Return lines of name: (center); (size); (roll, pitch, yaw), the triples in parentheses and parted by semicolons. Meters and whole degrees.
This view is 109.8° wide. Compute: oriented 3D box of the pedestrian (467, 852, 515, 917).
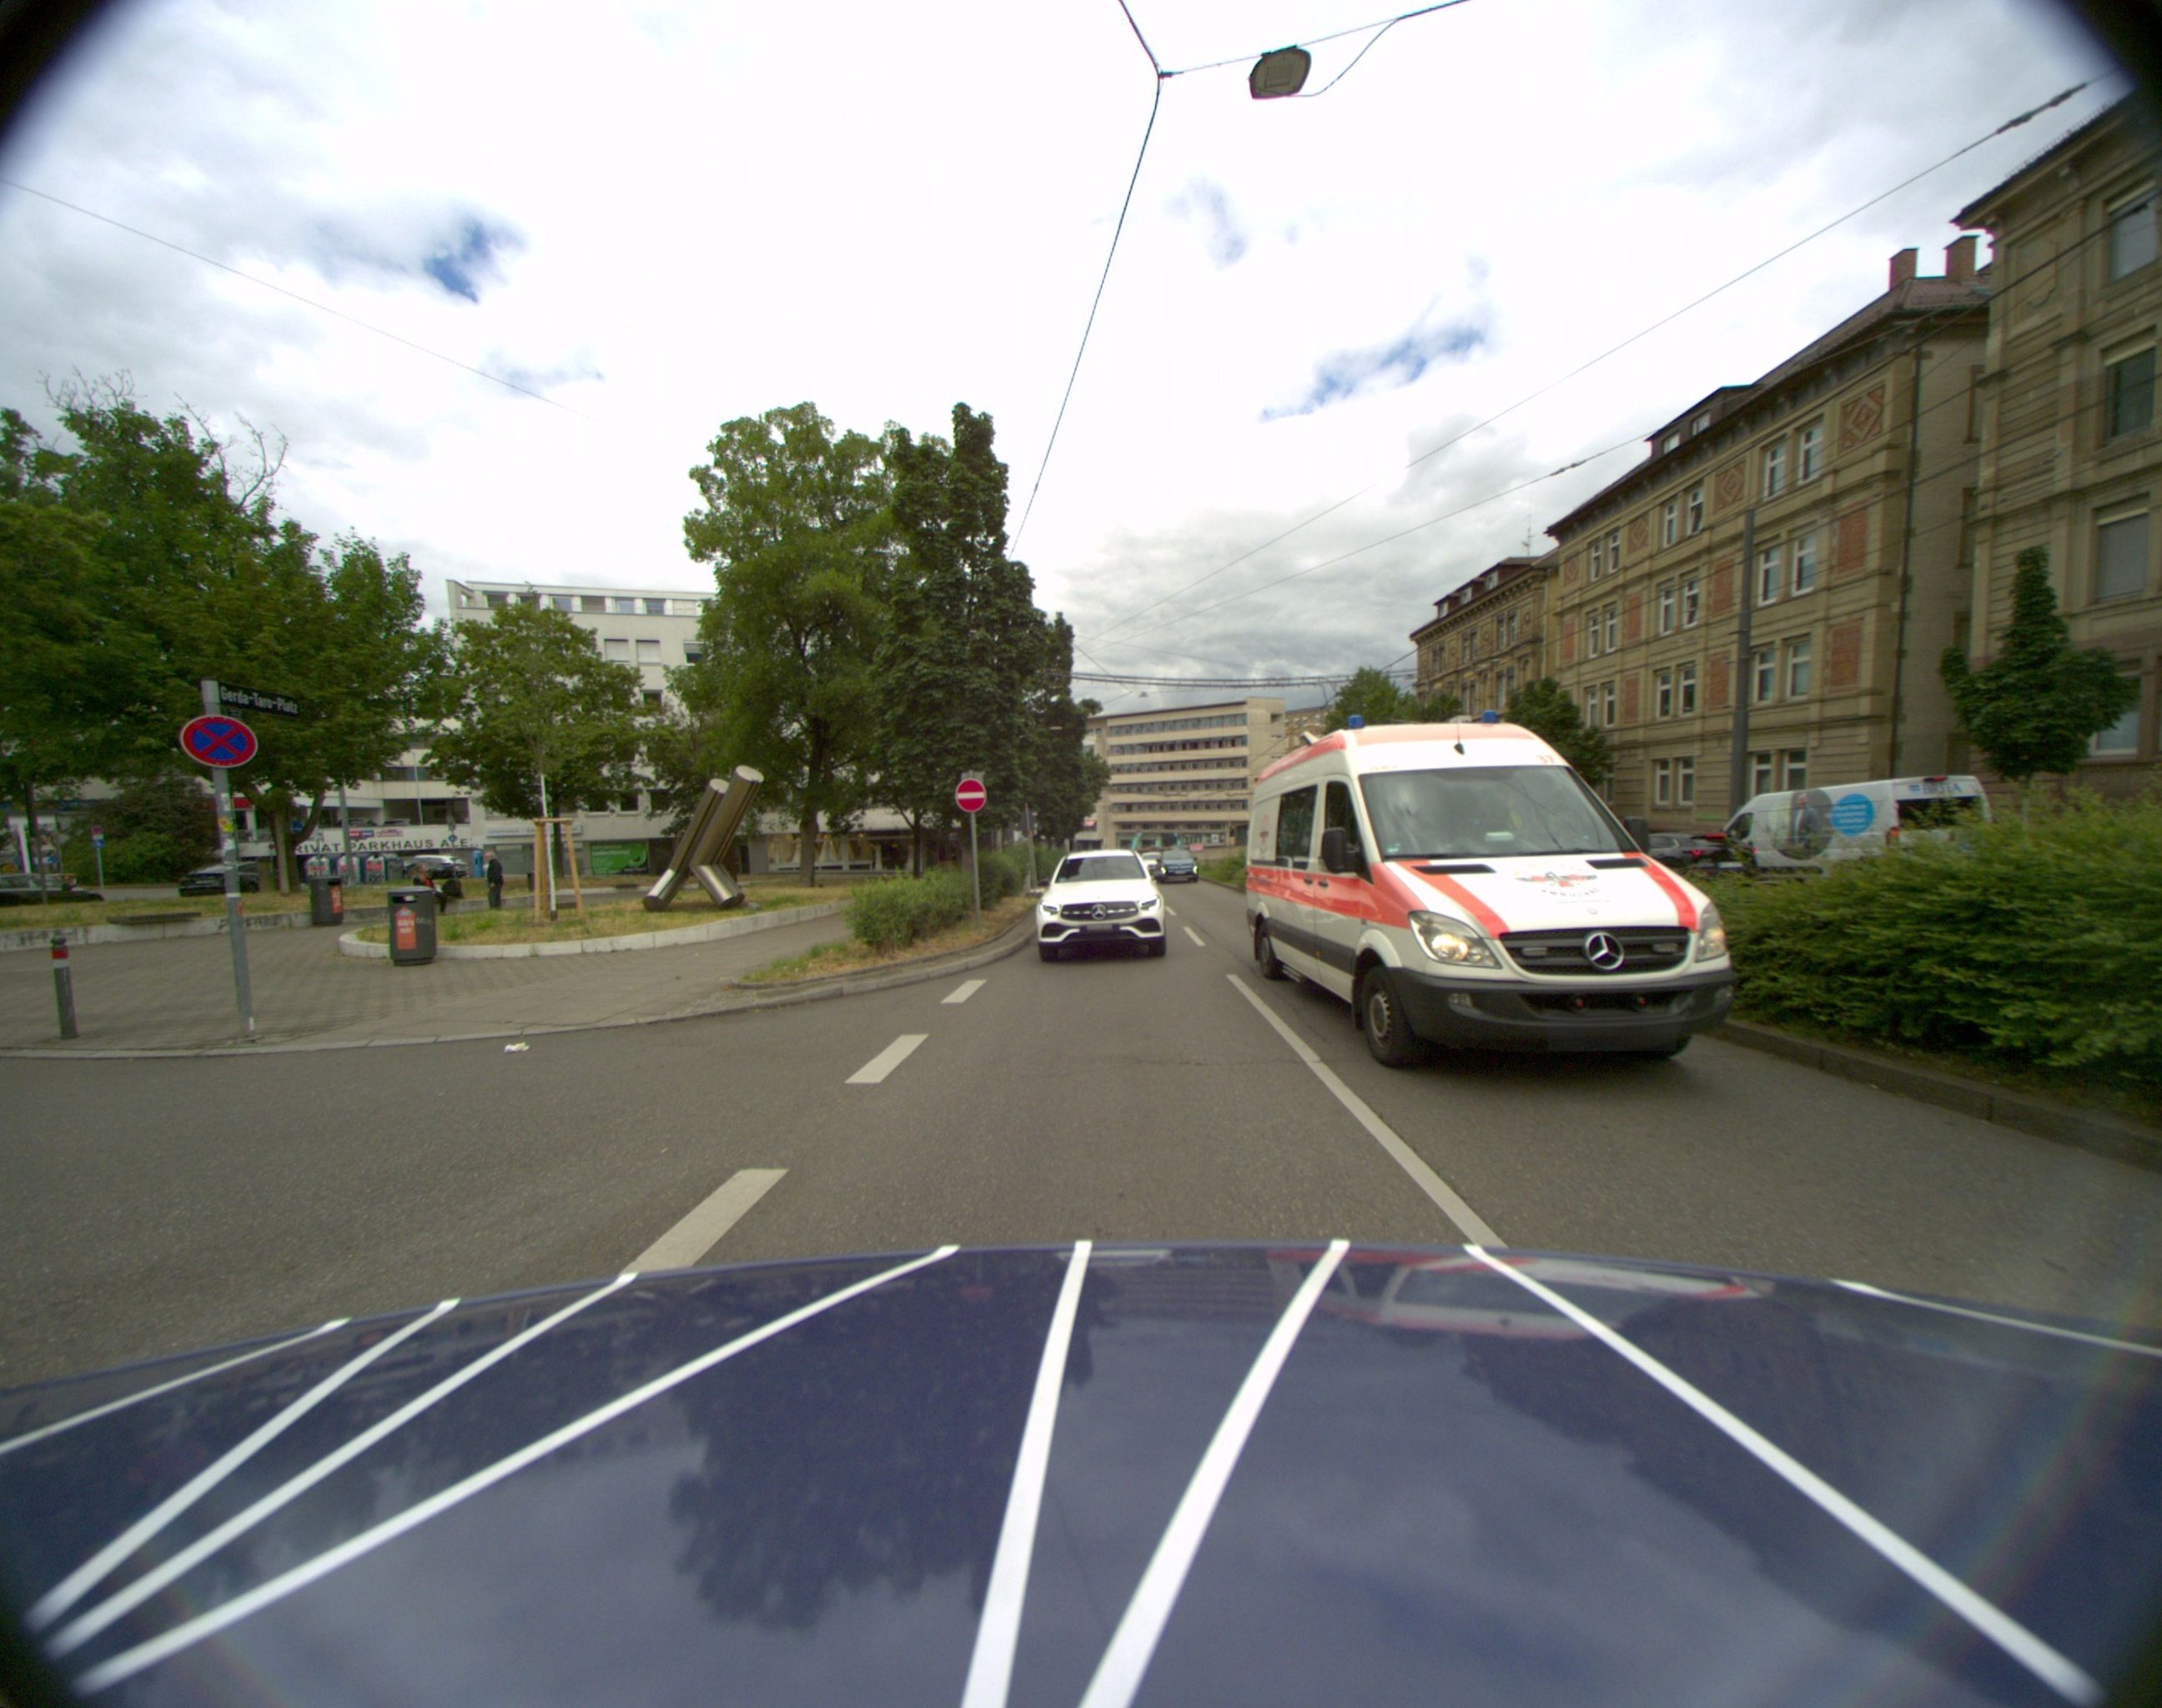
pedestrian: (-15.067, 0.761, 19.410); (0.727, 1.593, 0.791); (-2, 1, -21)

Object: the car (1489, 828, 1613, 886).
car: (15.378, 0.073, 25.112); (1.840, 1.740, 4.001); (-1, 1, 4)

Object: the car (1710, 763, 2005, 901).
car: (18.021, -0.477, 18.098); (2.214, 2.806, 4.784); (-1, 1, 1)

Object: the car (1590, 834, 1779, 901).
car: (15.215, 0.304, 19.469); (1.871, 1.510, 3.950); (-1, 1, 4)

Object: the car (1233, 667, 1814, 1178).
car: (2.959, 0.367, 7.009); (2.038, 2.684, 5.854); (-2, 0, 2)

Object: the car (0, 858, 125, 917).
car: (-29.994, 0.907, 21.399); (2.002, 1.556, 4.406); (-1, 0, -24)

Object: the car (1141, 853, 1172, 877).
car: (5.188, 0.701, 52.359); (1.998, 1.543, 4.319); (-1, 0, 6)

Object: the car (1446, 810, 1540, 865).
car: (18.377, -0.702, 34.089); (2.241, 2.274, 4.001); (-1, 1, 4)

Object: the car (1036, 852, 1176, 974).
car: (0.397, 0.817, 12.751); (1.894, 1.610, 4.478); (-2, 0, 1)

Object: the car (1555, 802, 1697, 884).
car: (17.752, -0.340, 25.022); (1.998, 2.461, 4.001); (-1, 1, 4)

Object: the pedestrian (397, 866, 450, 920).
pedestrian: (-16.122, 0.946, 18.631); (0.655, 1.284, 0.685); (-1, 1, 11)

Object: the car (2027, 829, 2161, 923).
car: (17.755, 0.328, 11.971); (1.647, 1.445, 3.568); (-2, 0, 11)

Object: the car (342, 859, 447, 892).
car: (-39.335, 1.220, 43.660); (4.000, 1.707, 1.998); (-1, 1, -8)

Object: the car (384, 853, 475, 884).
car: (-41.487, 0.902, 48.442); (4.000, 1.677, 1.688); (-4, 1, -10)

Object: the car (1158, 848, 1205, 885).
car: (4.833, 0.566, 36.923); (1.930, 1.563, 4.181); (-3, 0, 4)

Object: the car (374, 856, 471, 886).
car: (-40.164, 1.004, 46.461); (4.000, 1.707, 1.998); (-1, 1, -8)

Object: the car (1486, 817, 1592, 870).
car: (18.226, -0.404, 30.425); (2.320, 1.928, 3.437); (-1, 1, 4)

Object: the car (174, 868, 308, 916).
car: (-35.211, 1.515, 32.045); (2.002, 1.730, 4.774); (-1, 0, -24)

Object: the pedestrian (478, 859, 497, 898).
pedestrian: (-23.625, 0.960, 30.245); (0.529, 1.524, 0.672); (-2, 1, -38)
